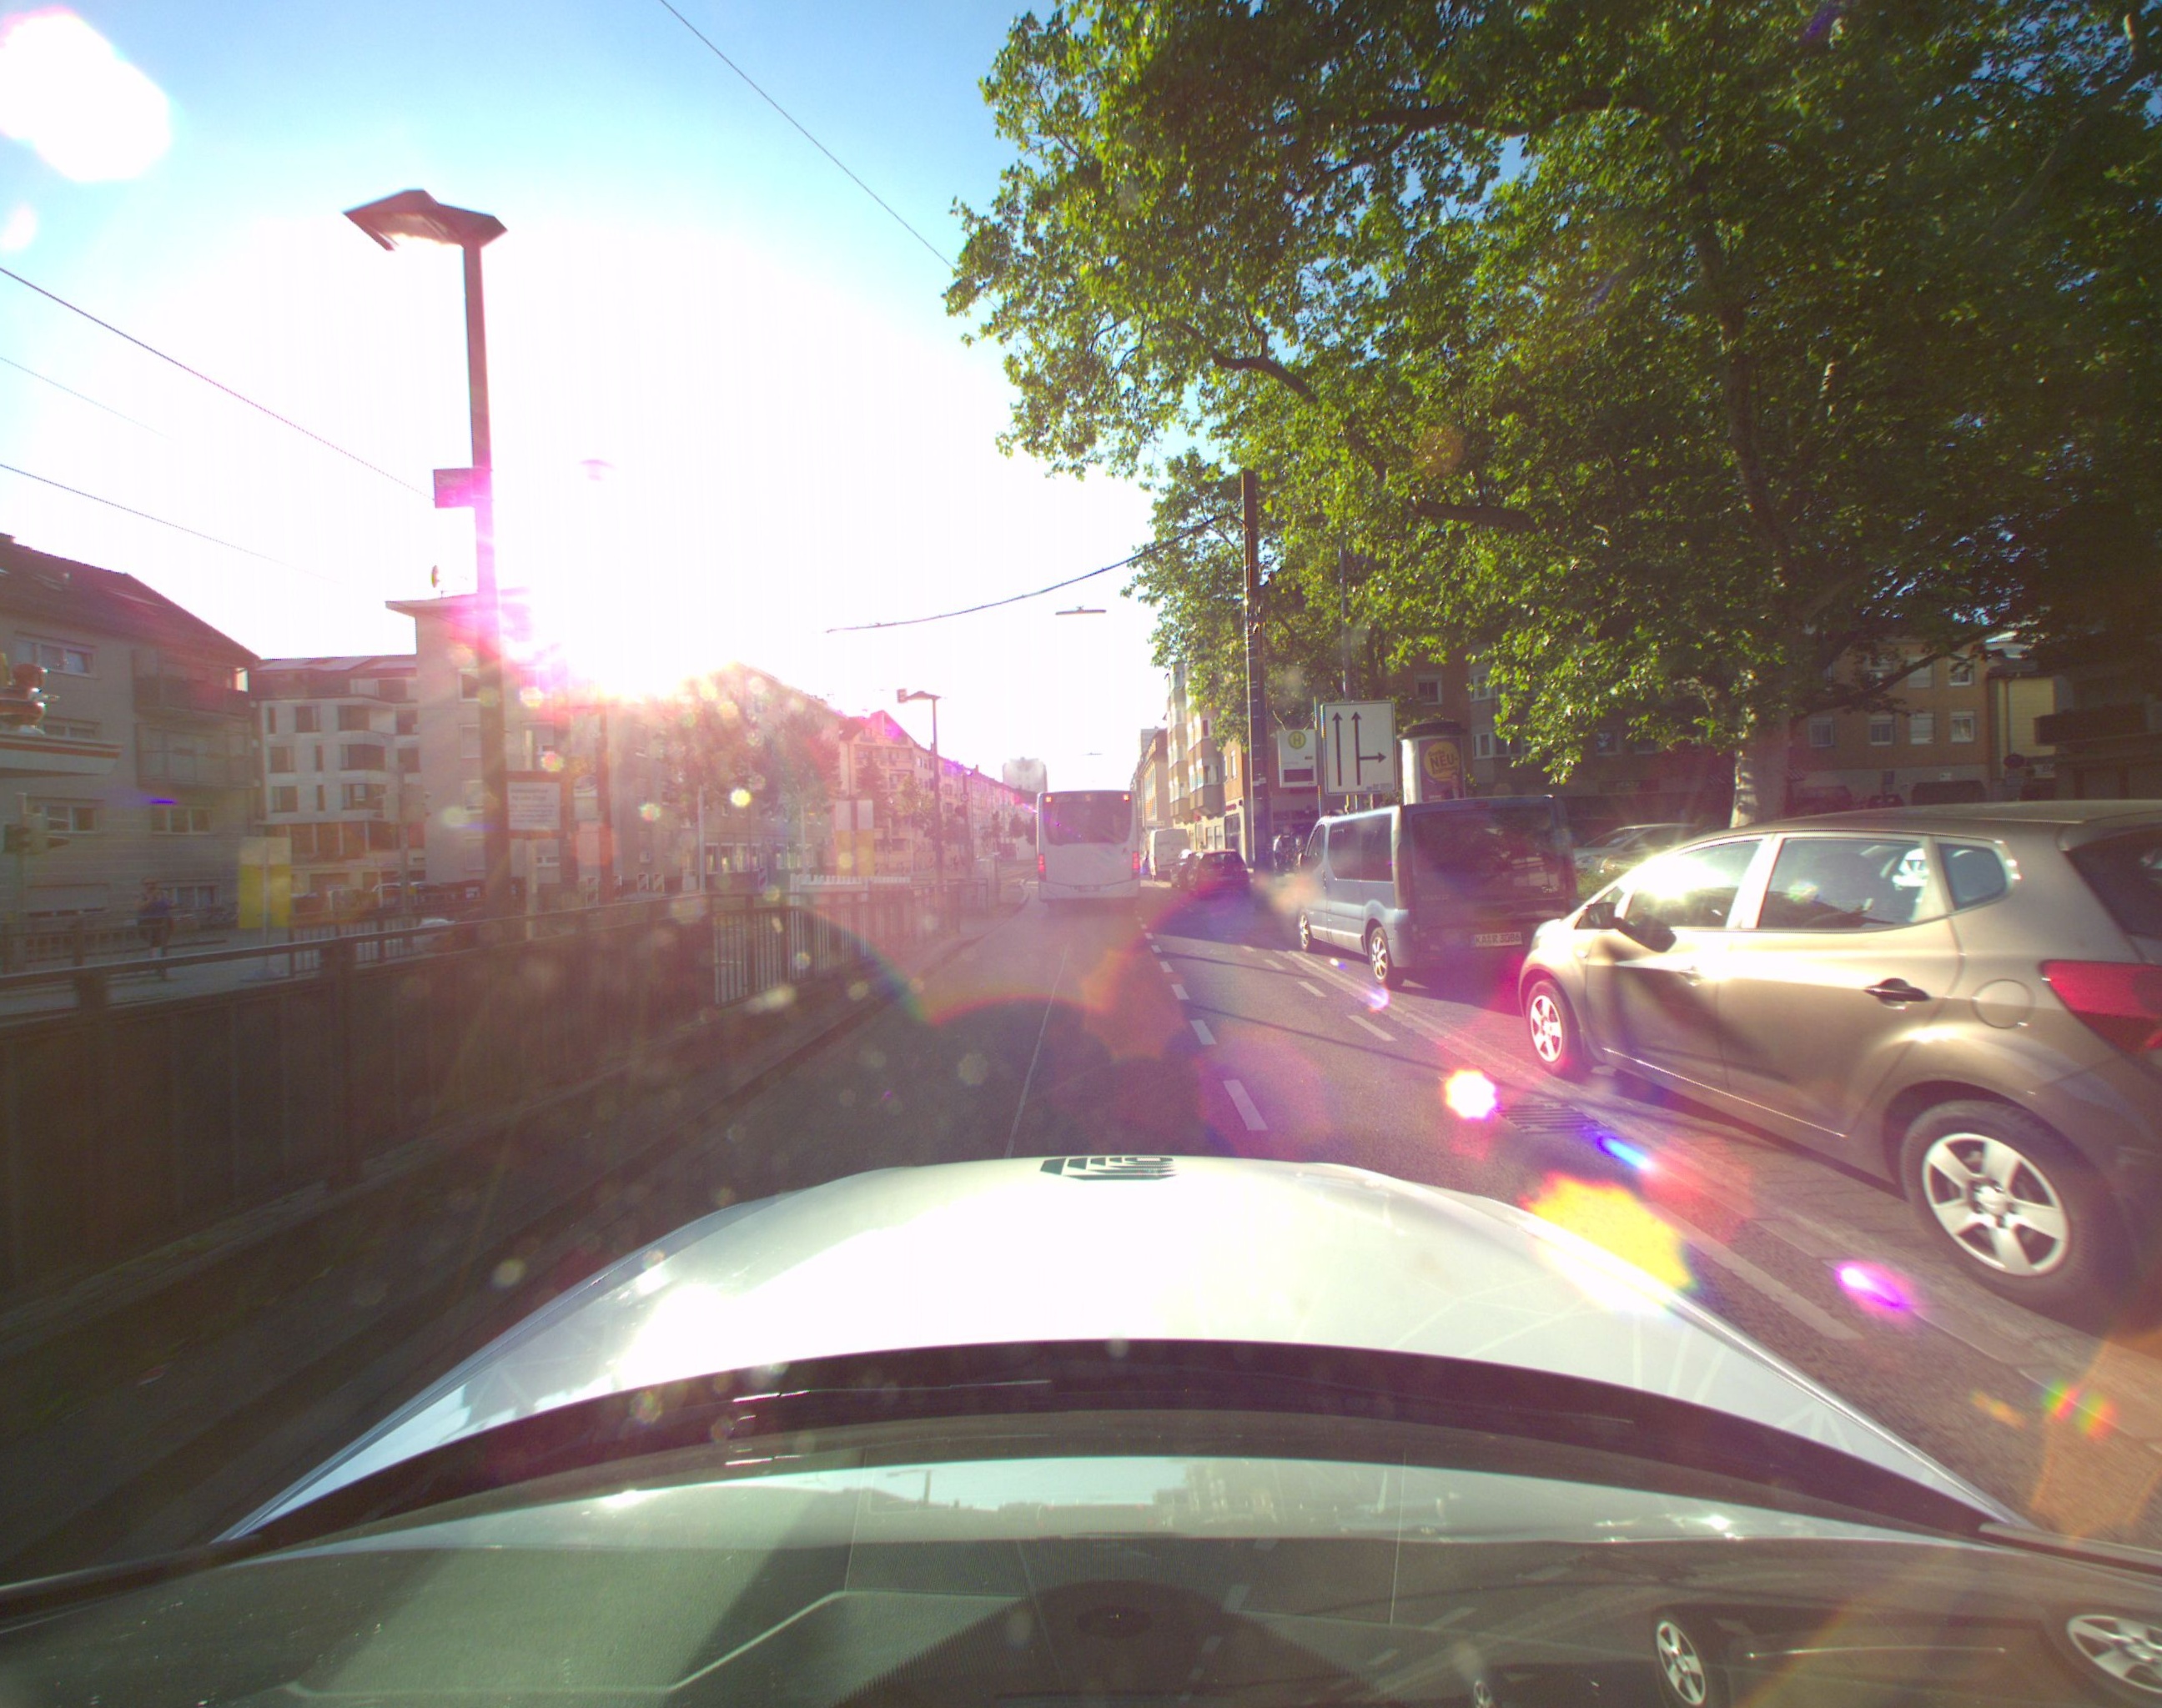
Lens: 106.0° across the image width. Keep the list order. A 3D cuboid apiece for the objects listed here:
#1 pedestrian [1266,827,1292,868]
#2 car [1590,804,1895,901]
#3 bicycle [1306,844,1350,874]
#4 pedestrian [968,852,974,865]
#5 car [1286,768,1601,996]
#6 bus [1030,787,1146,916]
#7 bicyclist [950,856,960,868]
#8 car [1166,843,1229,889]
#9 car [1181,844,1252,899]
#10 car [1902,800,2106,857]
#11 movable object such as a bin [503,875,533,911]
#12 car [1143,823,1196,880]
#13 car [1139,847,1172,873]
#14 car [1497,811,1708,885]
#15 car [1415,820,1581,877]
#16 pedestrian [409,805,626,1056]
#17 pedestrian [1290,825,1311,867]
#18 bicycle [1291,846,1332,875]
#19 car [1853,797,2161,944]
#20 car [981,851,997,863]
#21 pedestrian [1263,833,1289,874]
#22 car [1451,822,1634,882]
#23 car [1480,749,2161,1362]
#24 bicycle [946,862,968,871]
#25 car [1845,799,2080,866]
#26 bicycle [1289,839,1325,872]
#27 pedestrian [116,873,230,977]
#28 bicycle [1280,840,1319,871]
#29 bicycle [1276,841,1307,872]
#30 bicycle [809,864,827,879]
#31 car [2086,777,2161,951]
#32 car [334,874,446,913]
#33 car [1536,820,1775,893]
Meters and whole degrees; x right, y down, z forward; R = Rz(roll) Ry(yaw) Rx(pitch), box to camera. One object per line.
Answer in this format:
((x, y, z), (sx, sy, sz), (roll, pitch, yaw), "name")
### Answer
((8.806, -0.289, 36.204), (0.803, 1.751, 0.769), (-6, 1, 1), "pedestrian")
((12.023, -0.021, 15.027), (4.096, 1.495, 1.804), (-3, 0, 2), "car")
((9.239, 0.185, 30.447), (1.688, 1.014, 0.644), (-3, 0, -37), "bicycle")
((-18.130, 0.770, 134.470), (0.886, 2.013, 0.788), (-2, 0, -5), "pedestrian")
((4.001, 0.255, 9.988), (1.878, 2.078, 4.564), (-2, 0, 1), "car")
((0.304, -0.091, 23.954), (2.728, 3.055, 8.857), (-1, 0, 2), "bus")
((-12.247, 0.756, 79.134), (0.932, 1.161, 0.641), (-3, 0, -10), "bicyclist")
((4.437, 0.425, 31.690), (1.691, 1.530, 4.651), (-5, 0, 0), "car")
((4.218, 0.507, 25.882), (1.564, 1.494, 3.626), (-4, 0, 0), "car")
((28.725, -0.764, 25.449), (4.034, 1.534, 2.001), (-2, 0, 1), "car")
((-22.988, 1.579, 33.266), (0.661, 1.400, 0.749), (-3, 0, 0), "movable object such as a bin")
((4.502, -0.123, 42.289), (2.010, 2.551, 5.786), (-6, 0, 1), "car")
((4.867, 0.347, 53.593), (1.832, 1.536, 4.231), (-3, 0, 2), "car")
((12.236, -0.139, 19.306), (3.825, 1.631, 1.857), (-1, 0, 2), "car")
((12.274, -0.159, 24.170), (4.008, 1.600, 1.856), (0, 0, 0), "car")
((-3.758, 0.473, 5.516), (0.915, 1.550, 0.787), (-1, 0, -7), "pedestrian")
((9.671, -0.368, 35.878), (0.527, 1.781, 0.649), (-6, 1, -6), "pedestrian")
((8.818, 0.255, 31.099), (1.590, 1.014, 0.644), (-3, 0, -37), "bicycle")
((11.981, 0.116, 9.532), (4.096, 1.495, 1.804), (-3, 0, 2), "car")
((-16.497, 0.542, 146.923), (1.984, 2.013, 4.007), (-2, 0, 6), "car")
((8.325, -0.022, 34.764), (0.658, 1.636, 0.988), (-6, 1, -6), "pedestrian")
((12.103, -0.057, 21.548), (3.825, 1.495, 1.857), (0, 0, 2), "car")
((3.796, 0.494, 3.964), (1.789, 1.630, 4.001), (-2, 0, 1), "car")
((-12.095, 1.239, 79.155), (2.063, 0.732, 0.760), (-2, 0, -10), "bicycle")
((23.382, -0.562, 21.738), (4.034, 1.534, 2.001), (-2, 0, 1), "car")
((8.976, 0.051, 32.333), (0.639, 1.226, 1.592), (-3, 0, 44), "bicycle")
((-15.302, 1.158, 13.751), (0.917, 1.654, 0.941), (0, 0, 12), "pedestrian")
((8.951, 0.057, 33.392), (1.590, 1.226, 0.644), (-3, 0, -37), "bicycle")
((8.833, 0.103, 34.146), (1.528, 1.226, 0.399), (-2, 0, -39), "bicycle")
((-21.273, 1.413, 65.930), (0.744, 1.115, 1.779), (-3, 0, 2), "bicycle")
((11.954, 0.000, 7.069), (4.096, 1.599, 1.804), (-3, 0, 2), "car")
((-32.162, 1.828, 37.951), (3.795, 1.512, 1.822), (-3, 0, 8), "car")
((12.112, 0.025, 17.375), (3.825, 1.436, 1.804), (0, 2, 2), "car")
